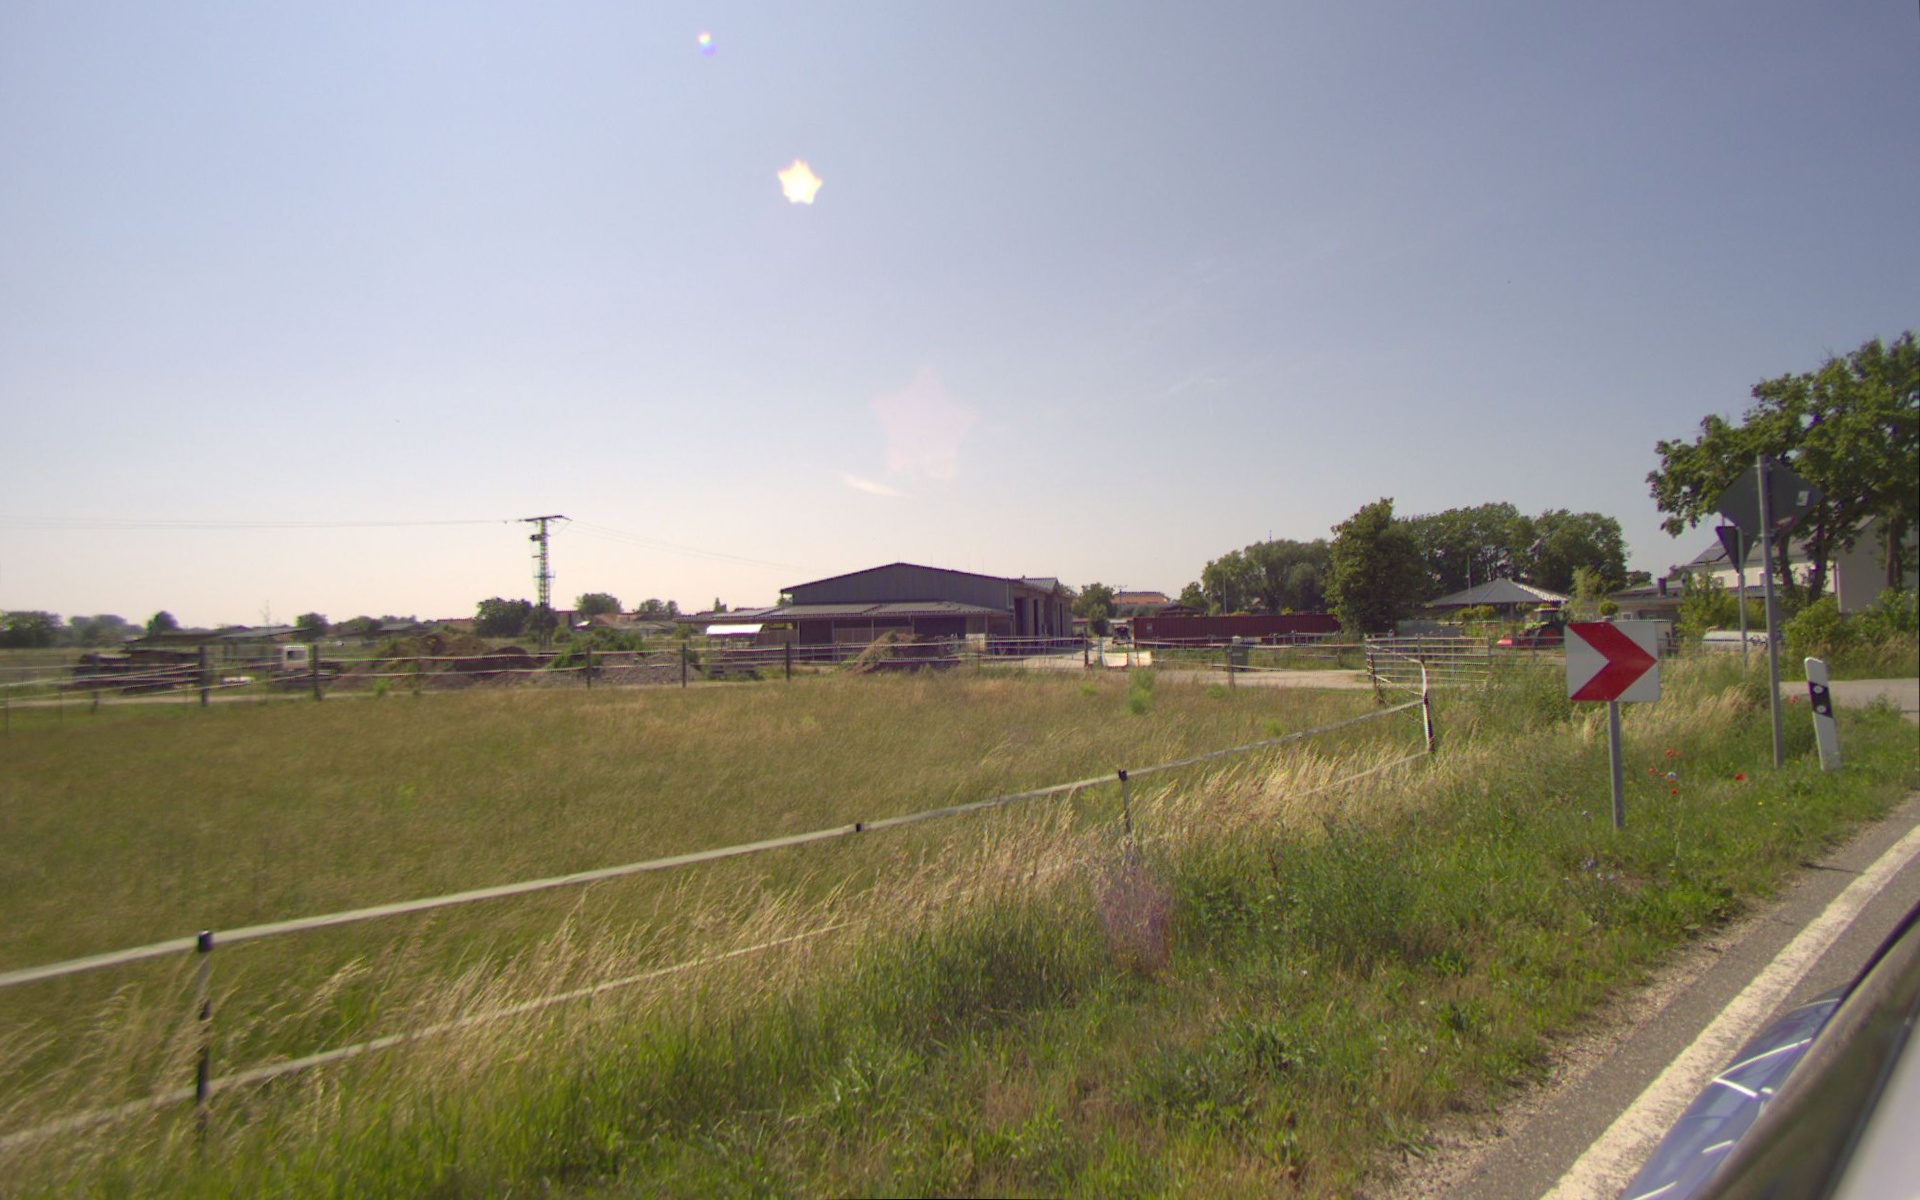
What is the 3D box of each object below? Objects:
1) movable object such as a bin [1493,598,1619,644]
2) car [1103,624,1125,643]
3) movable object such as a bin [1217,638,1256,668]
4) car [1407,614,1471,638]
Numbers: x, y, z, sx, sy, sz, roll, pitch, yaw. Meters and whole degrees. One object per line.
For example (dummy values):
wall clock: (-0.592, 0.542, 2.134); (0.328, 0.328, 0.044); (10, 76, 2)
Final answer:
movable object such as a bin: (39.428, 1.444, 67.134); (6.383, 2.806, 3.009); (-1, -3, 1)
car: (17.405, 3.742, 114.185); (1.971, 2.040, 3.980); (-4, -3, 15)
movable object such as a bin: (13.244, 2.534, 48.487); (1.490, 1.367, 1.371); (-2, -2, 5)
car: (35.337, 1.900, 74.697); (3.815, 1.595, 1.993); (-2, -1, 11)
